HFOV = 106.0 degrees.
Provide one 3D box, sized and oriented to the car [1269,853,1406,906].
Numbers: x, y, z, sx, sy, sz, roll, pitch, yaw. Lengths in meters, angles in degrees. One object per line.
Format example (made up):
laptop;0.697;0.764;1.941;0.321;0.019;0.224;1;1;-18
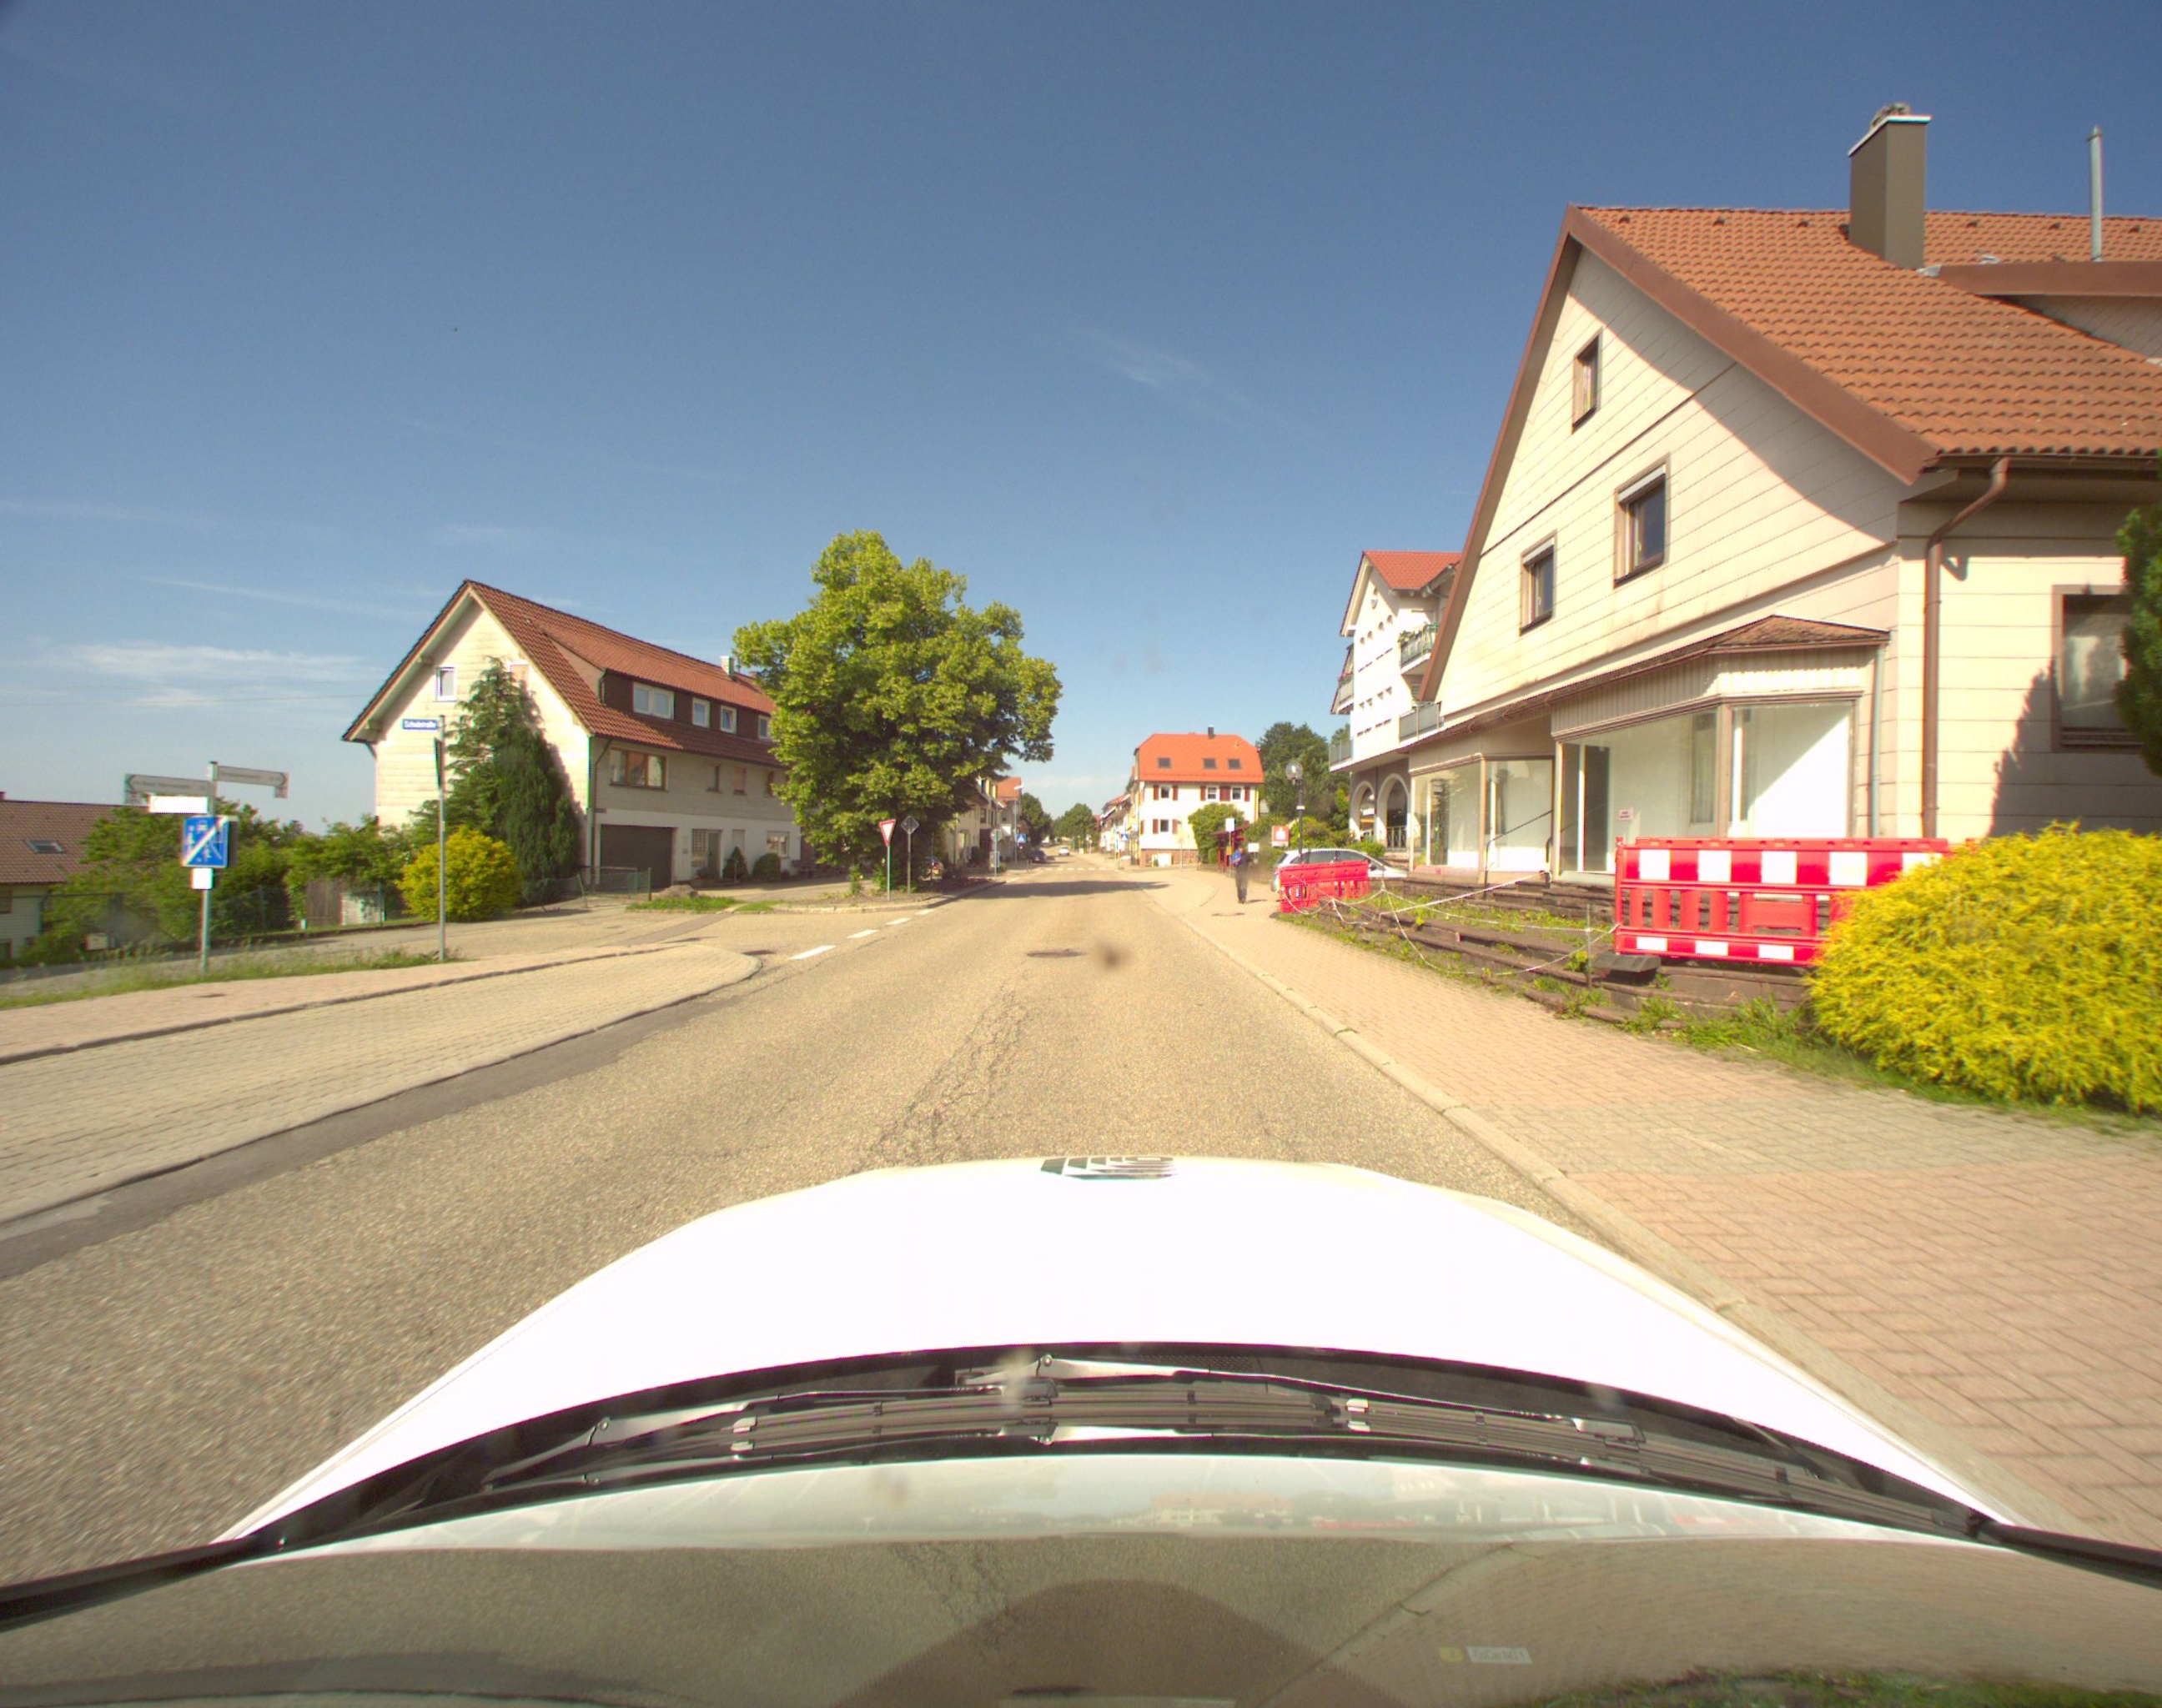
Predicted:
car;8.059;0.767;25.921;3.961;1.549;1.743;1;0;11

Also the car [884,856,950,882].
car;-10.660;0.993;53.085;3.734;1.455;1.823;-2;-5;12

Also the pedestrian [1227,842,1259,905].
pedestrian;4.742;0.557;23.893;0.795;1.784;0.981;-1;0;5

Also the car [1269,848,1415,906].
car;7.383;0.617;23.391;3.835;1.558;1.970;0;0;13

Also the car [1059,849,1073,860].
car;-3.008;0.039;160.594;2.489;2.013;4.300;-2;0;-3

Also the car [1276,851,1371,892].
car;9.096;0.644;30.761;3.215;1.469;1.632;-1;0;8

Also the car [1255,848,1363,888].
car;9.354;0.574;33.689;3.970;1.548;1.882;-1;0;3

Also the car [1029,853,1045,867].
car;-5.308;0.677;98.651;1.667;1.533;3.535;4;0;0
